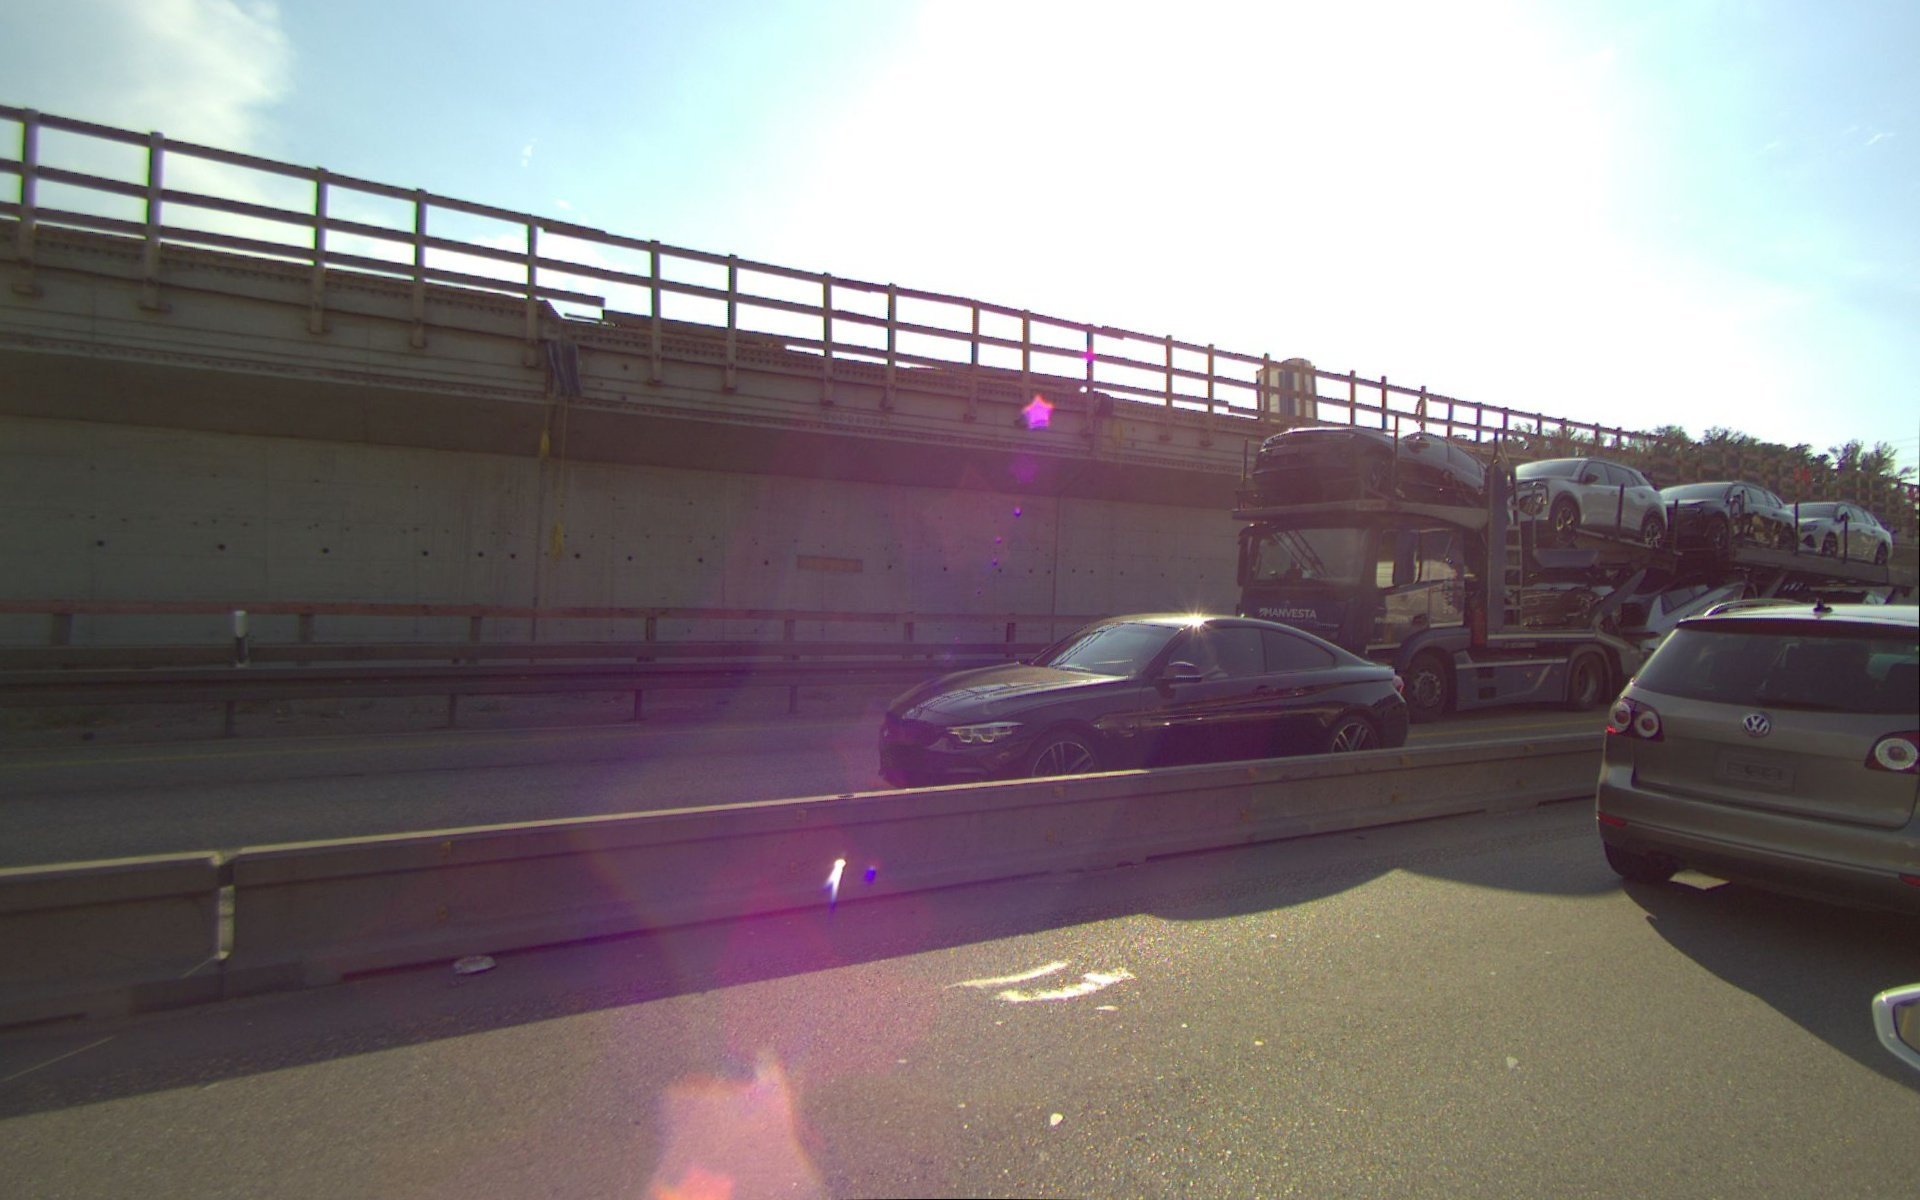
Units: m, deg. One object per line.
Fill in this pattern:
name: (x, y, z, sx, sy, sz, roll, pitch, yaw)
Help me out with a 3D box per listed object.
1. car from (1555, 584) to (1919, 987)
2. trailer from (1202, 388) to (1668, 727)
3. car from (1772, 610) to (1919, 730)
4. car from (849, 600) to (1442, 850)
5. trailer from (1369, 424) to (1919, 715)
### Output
car: (5.361, 0.804, 5.635, 4.223, 1.609, 1.672, 2, -1, -31)
trailer: (7.282, -0.448, 15.109, 7.124, 4.084, 2.758, 1, 0, -31)
car: (14.603, 1.013, 15.561, 4.288, 1.599, 1.748, 1, 0, -31)
car: (1.569, 0.797, 7.862, 4.546, 1.464, 1.701, 1, 0, -30)
trailer: (14.133, -0.271, 19.260, 15.580, 4.084, 2.757, 1, 0, -31)
